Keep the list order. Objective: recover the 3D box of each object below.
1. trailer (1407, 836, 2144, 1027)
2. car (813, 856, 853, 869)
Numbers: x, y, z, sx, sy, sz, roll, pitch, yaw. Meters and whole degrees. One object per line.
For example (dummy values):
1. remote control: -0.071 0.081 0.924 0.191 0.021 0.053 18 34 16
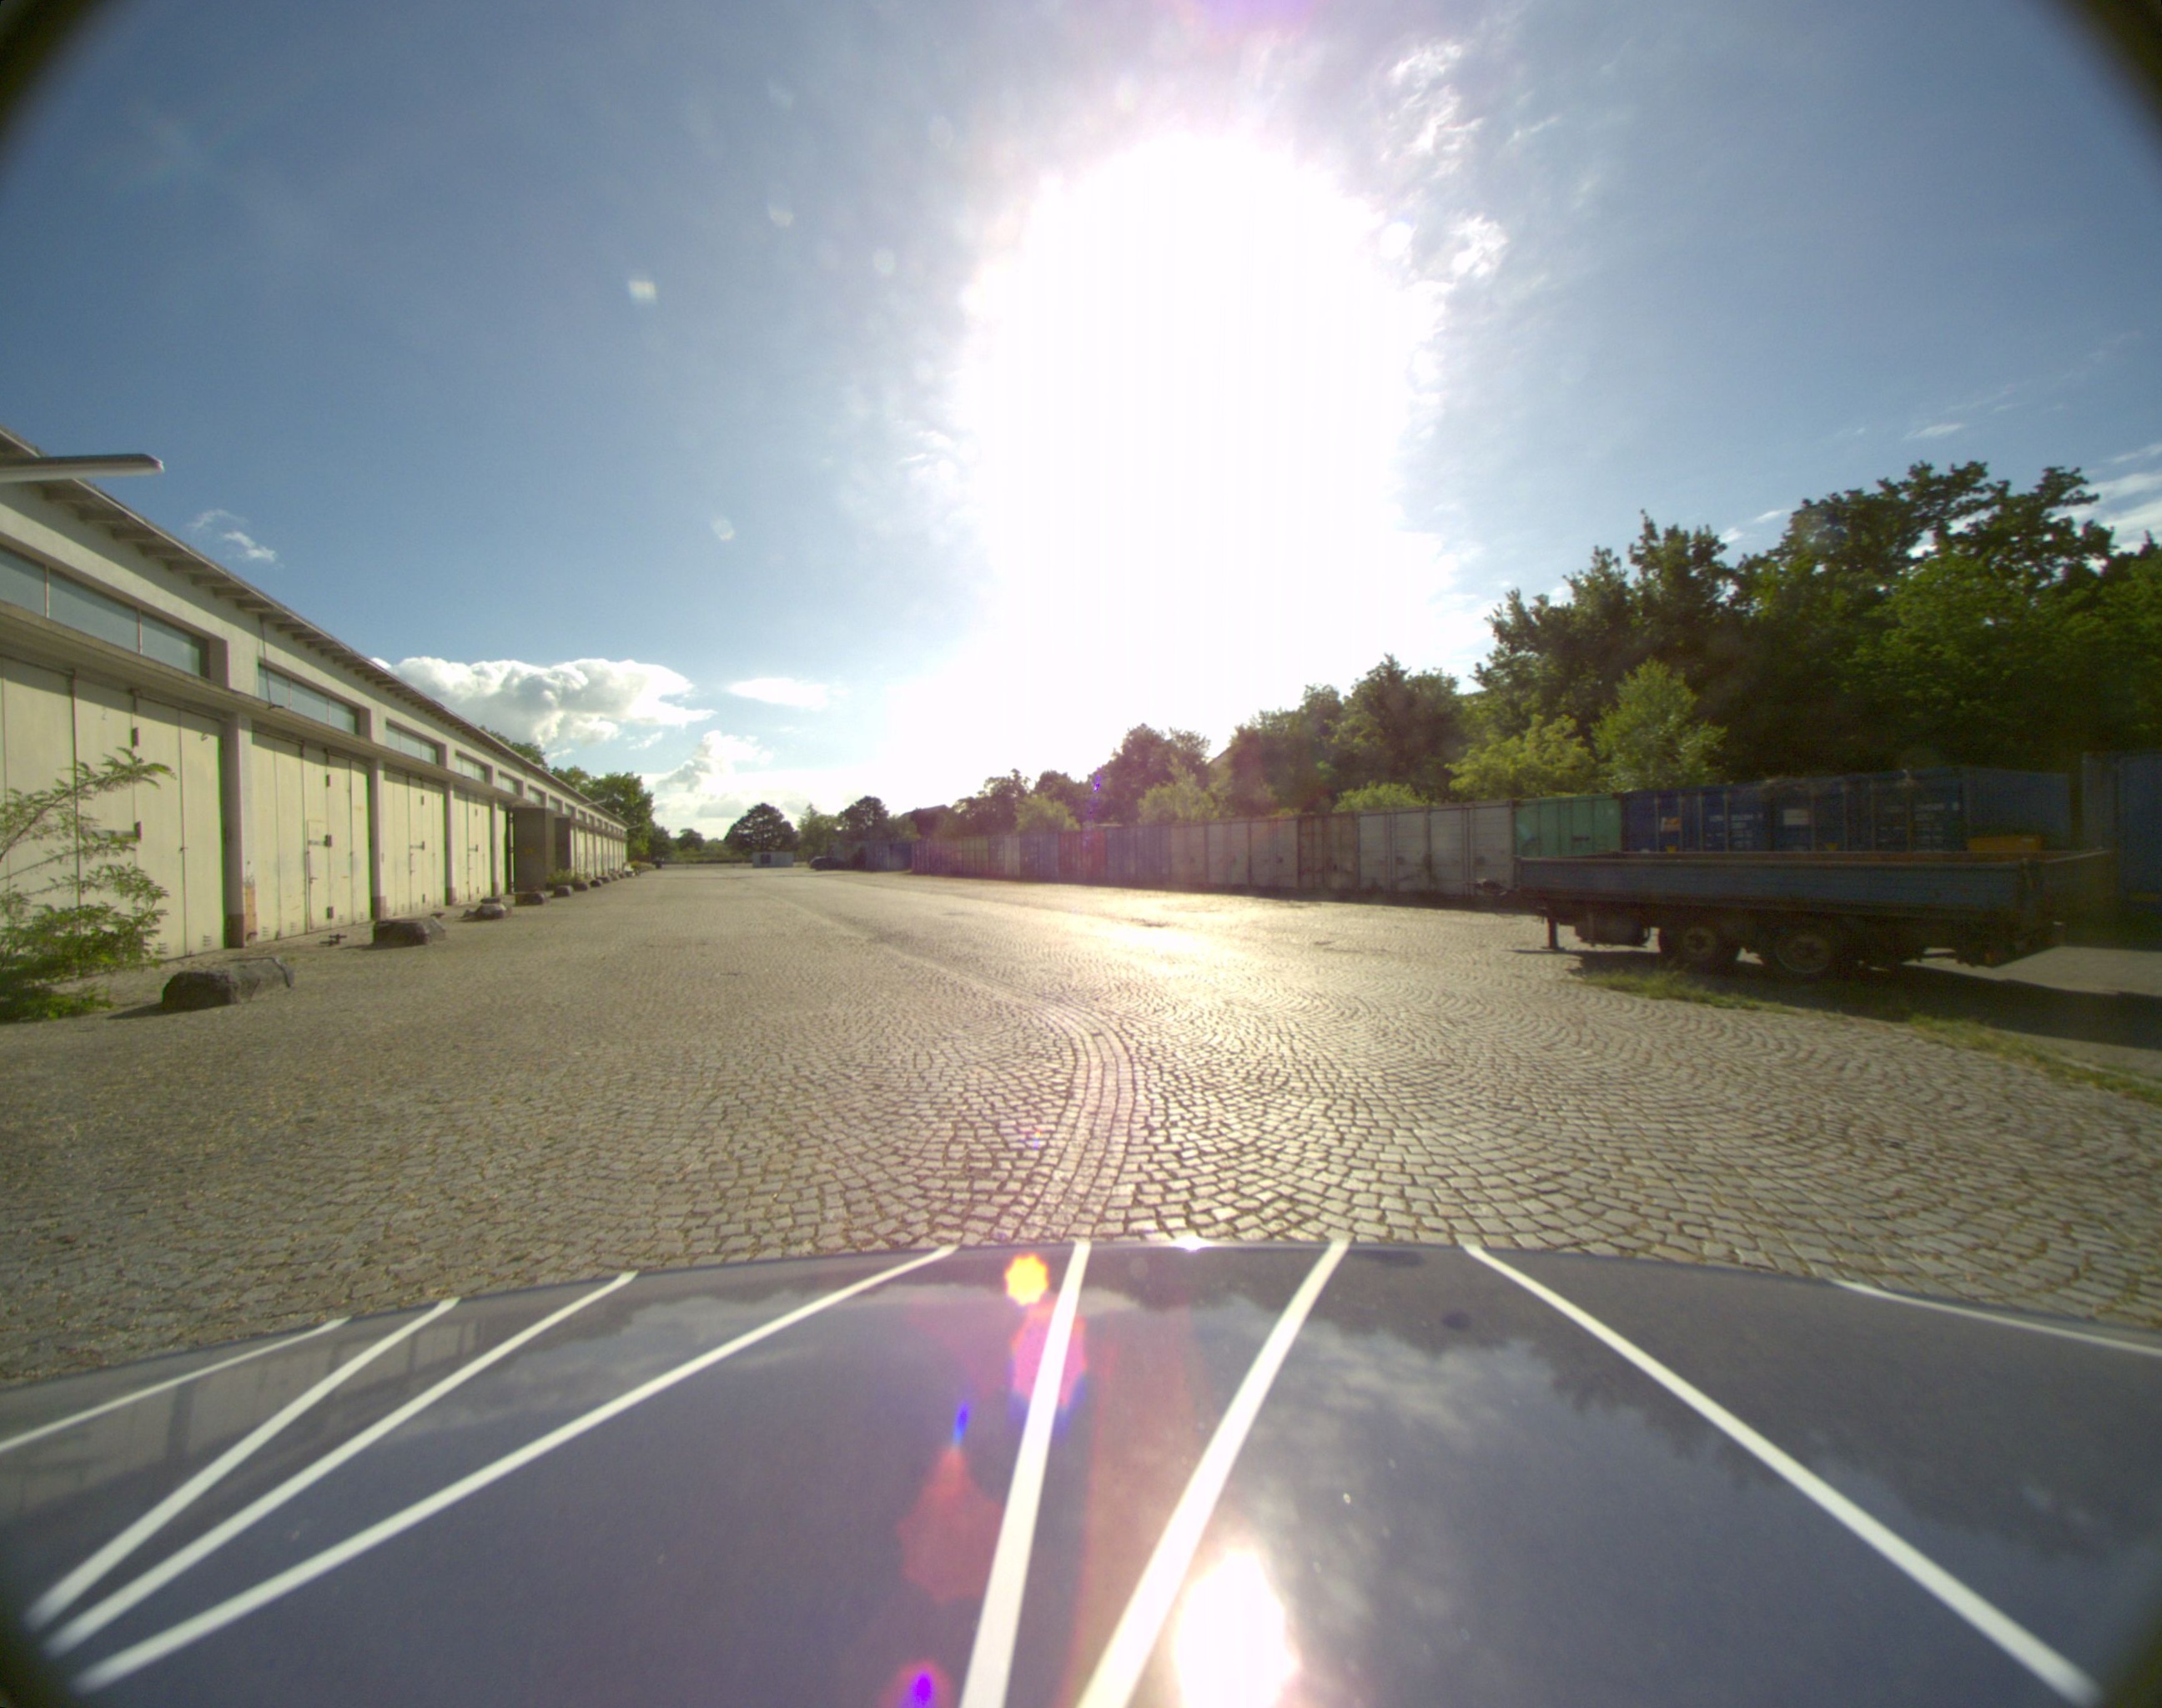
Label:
1. trailer: 7.984 0.679 9.900 2.859 1.509 6.479 -3 1 -27
2. car: -26.581 0.860 81.456 3.883 1.259 1.586 -2 1 -30
